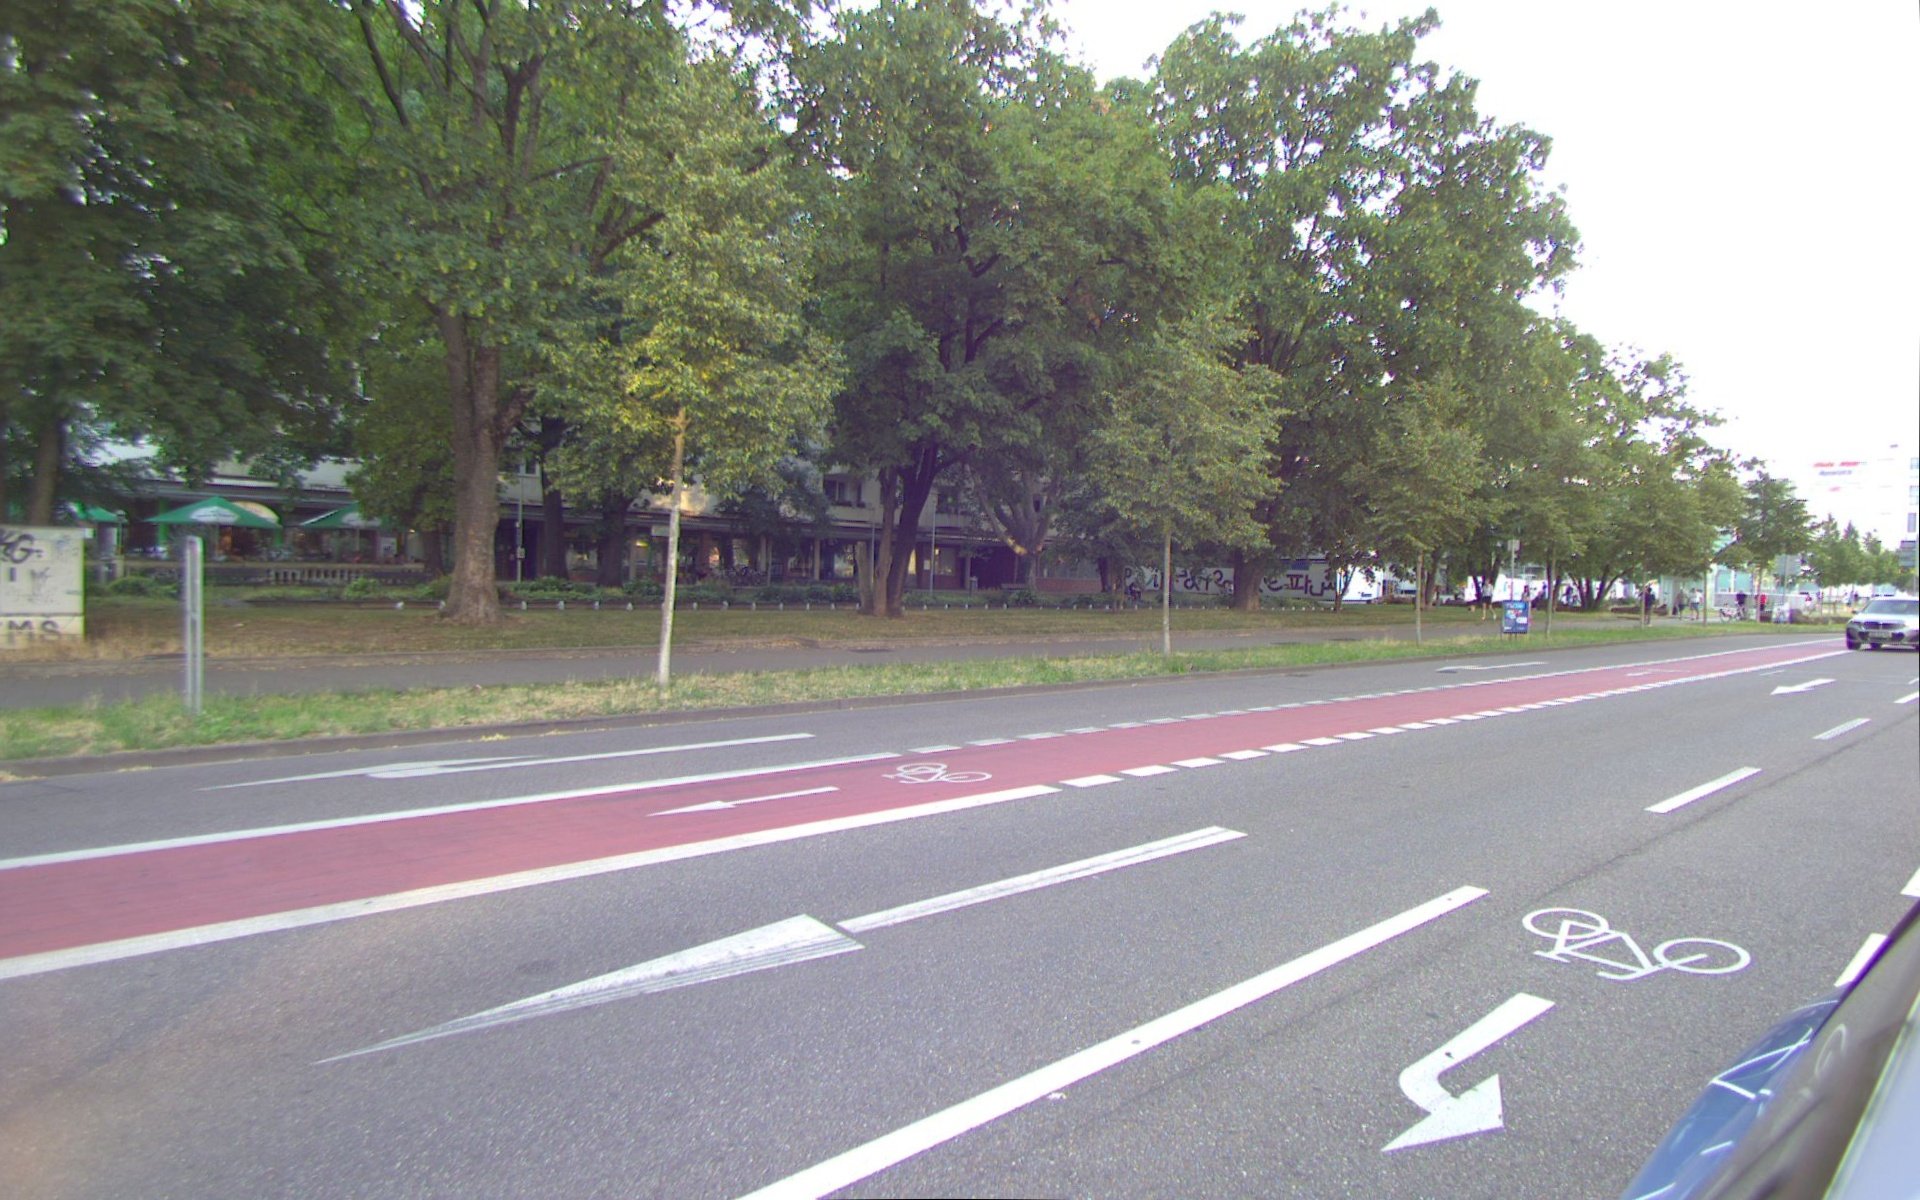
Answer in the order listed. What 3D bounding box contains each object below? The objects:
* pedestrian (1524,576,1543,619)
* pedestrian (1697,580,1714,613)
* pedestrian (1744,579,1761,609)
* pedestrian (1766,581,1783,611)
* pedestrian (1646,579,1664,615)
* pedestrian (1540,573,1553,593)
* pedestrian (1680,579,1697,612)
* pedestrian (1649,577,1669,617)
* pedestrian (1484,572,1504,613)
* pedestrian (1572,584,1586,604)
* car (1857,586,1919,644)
[{"bbox_3d":[22.284,-0.096,39.321,0.359,1.621,0.500,1,2,-40],"label":"pedestrian"},{"bbox_3d":[39.527,-0.201,53.654,0.707,1.751,0.508,0,2,-40],"label":"pedestrian"},{"bbox_3d":[48.695,-0.368,62.179,0.497,1.779,0.638,0,2,-40],"label":"pedestrian"},{"bbox_3d":[49.317,-0.260,61.292,0.497,1.779,0.638,0,2,-40],"label":"pedestrian"},{"bbox_3d":[34.307,-0.167,49.929,0.707,1.751,0.508,0,2,-40],"label":"pedestrian"},{"bbox_3d":[41.816,-1.222,72.155,0.669,1.371,0.631,0,2,-41],"label":"pedestrian"},{"bbox_3d":[39.218,-0.236,54.476,0.707,1.751,0.519,0,2,-40],"label":"pedestrian"},{"bbox_3d":[30.843,-0.139,44.658,0.546,1.760,0.558,0,2,-41],"label":"pedestrian"},{"bbox_3d":[21.118,-0.302,40.002,0.513,1.621,0.500,0,2,-41],"label":"pedestrian"},{"bbox_3d":[43.641,-0.439,71.397,0.550,1.371,0.662,0,2,-40],"label":"pedestrian"},{"bbox_3d":[28.948,0.431,30.627,4.255,1.642,1.827,0,0,-36],"label":"car"}]
